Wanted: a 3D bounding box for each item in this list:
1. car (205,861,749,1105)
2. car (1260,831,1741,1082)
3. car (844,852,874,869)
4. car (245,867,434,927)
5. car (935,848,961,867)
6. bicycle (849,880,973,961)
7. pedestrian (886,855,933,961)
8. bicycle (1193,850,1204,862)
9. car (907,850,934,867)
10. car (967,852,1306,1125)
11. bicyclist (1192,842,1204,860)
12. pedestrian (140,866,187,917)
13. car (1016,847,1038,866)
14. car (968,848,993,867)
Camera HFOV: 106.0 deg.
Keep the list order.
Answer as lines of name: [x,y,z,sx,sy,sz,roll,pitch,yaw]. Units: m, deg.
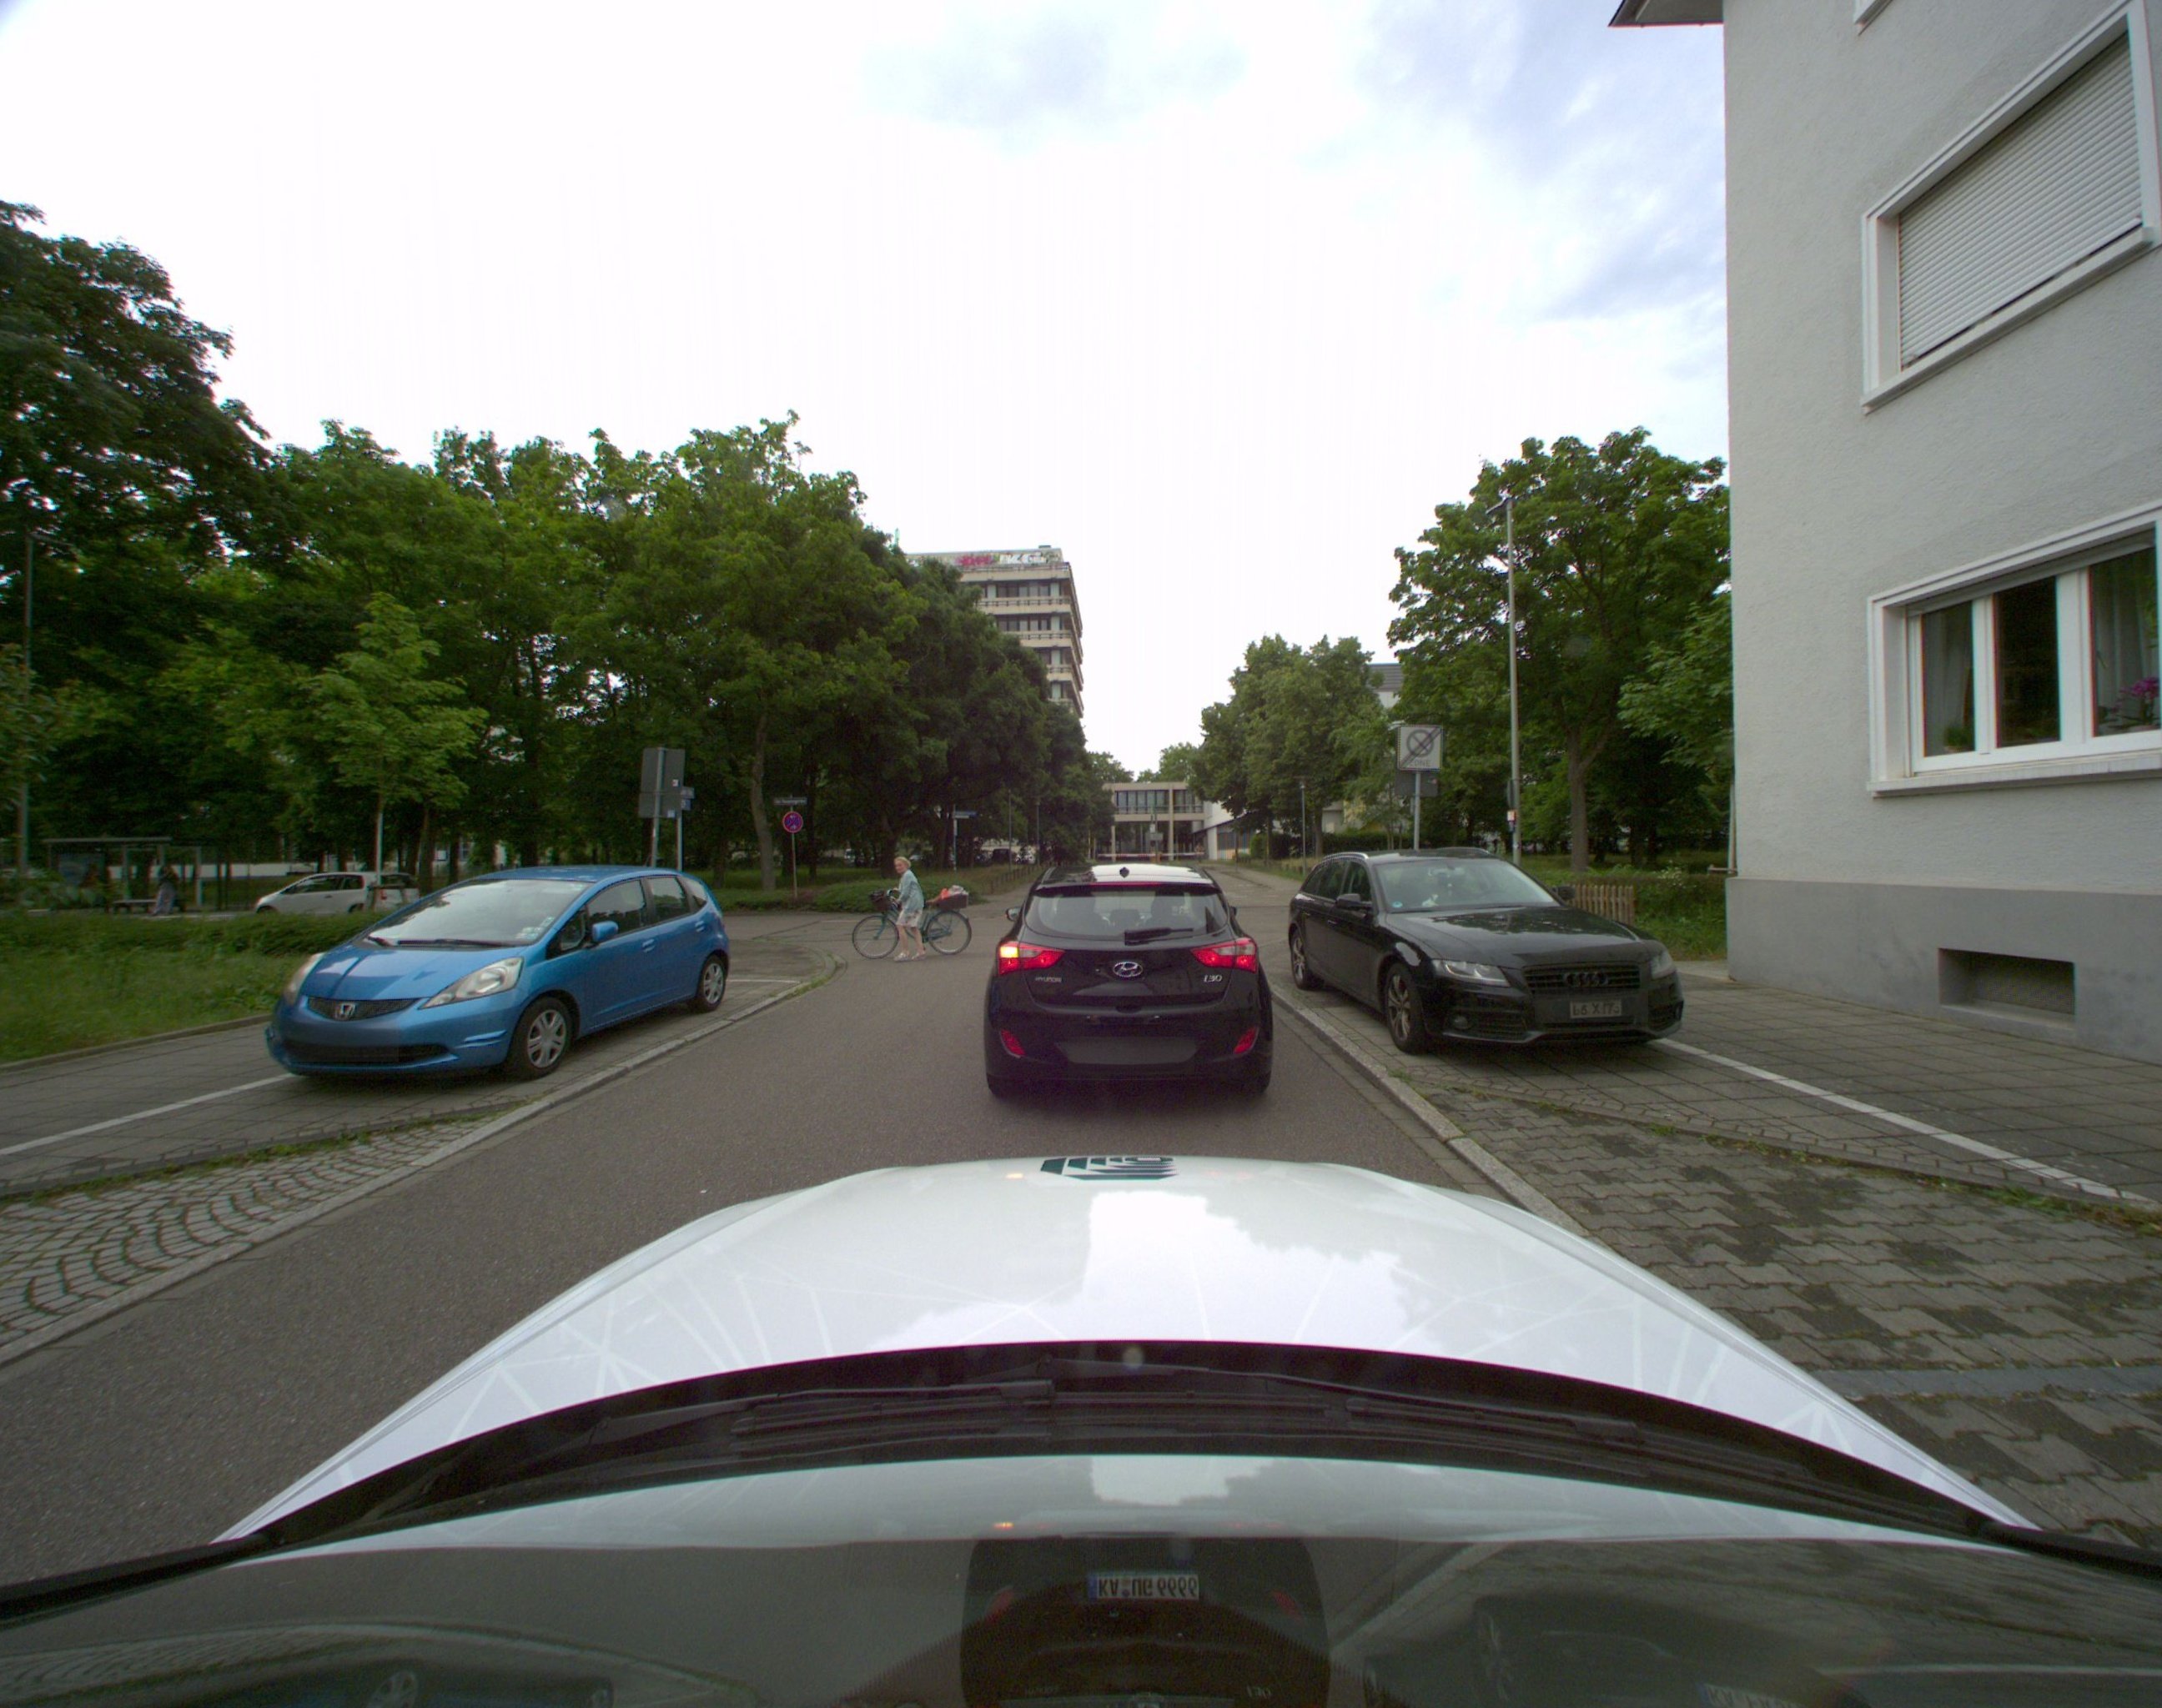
car: [-4.639,0.835,7.148,1.724,1.462,3.958,1,0,1]
car: [3.082,0.618,7.329,1.854,1.462,4.725,-2,0,0]
car: [-21.762,0.623,80.002,1.913,1.618,3.997,-1,0,-2]
car: [-19.629,1.106,21.659,3.521,1.437,1.567,-1,0,-1]
car: [-12.894,0.402,79.194,1.988,1.728,3.996,-1,-2,-2]
bicycle: [-2.645,1.030,12.811,1.810,1.119,0.536,-3,0,-7]
pedestrian: [-2.616,0.811,12.449,0.565,1.549,0.447,-3,0,-5]
bicycle: [10.833,0.196,75.086,0.863,1.074,2.143,-1,1,3]
car: [-15.602,0.441,79.328,1.988,1.618,3.997,-1,0,-2]
car: [0.298,0.743,6.382,1.840,1.462,3.826,-1,0,0]
bicyclist: [10.800,-0.250,75.158,1.013,1.644,0.924,-1,0,2]
pedestrian: [-29.199,1.181,25.925,0.693,1.583,0.656,-1,1,3]
car: [-5.209,0.304,79.402,1.988,1.762,3.996,-1,-1,-2]
car: [-9.789,0.363,79.449,1.988,1.794,3.996,-1,-2,-2]
